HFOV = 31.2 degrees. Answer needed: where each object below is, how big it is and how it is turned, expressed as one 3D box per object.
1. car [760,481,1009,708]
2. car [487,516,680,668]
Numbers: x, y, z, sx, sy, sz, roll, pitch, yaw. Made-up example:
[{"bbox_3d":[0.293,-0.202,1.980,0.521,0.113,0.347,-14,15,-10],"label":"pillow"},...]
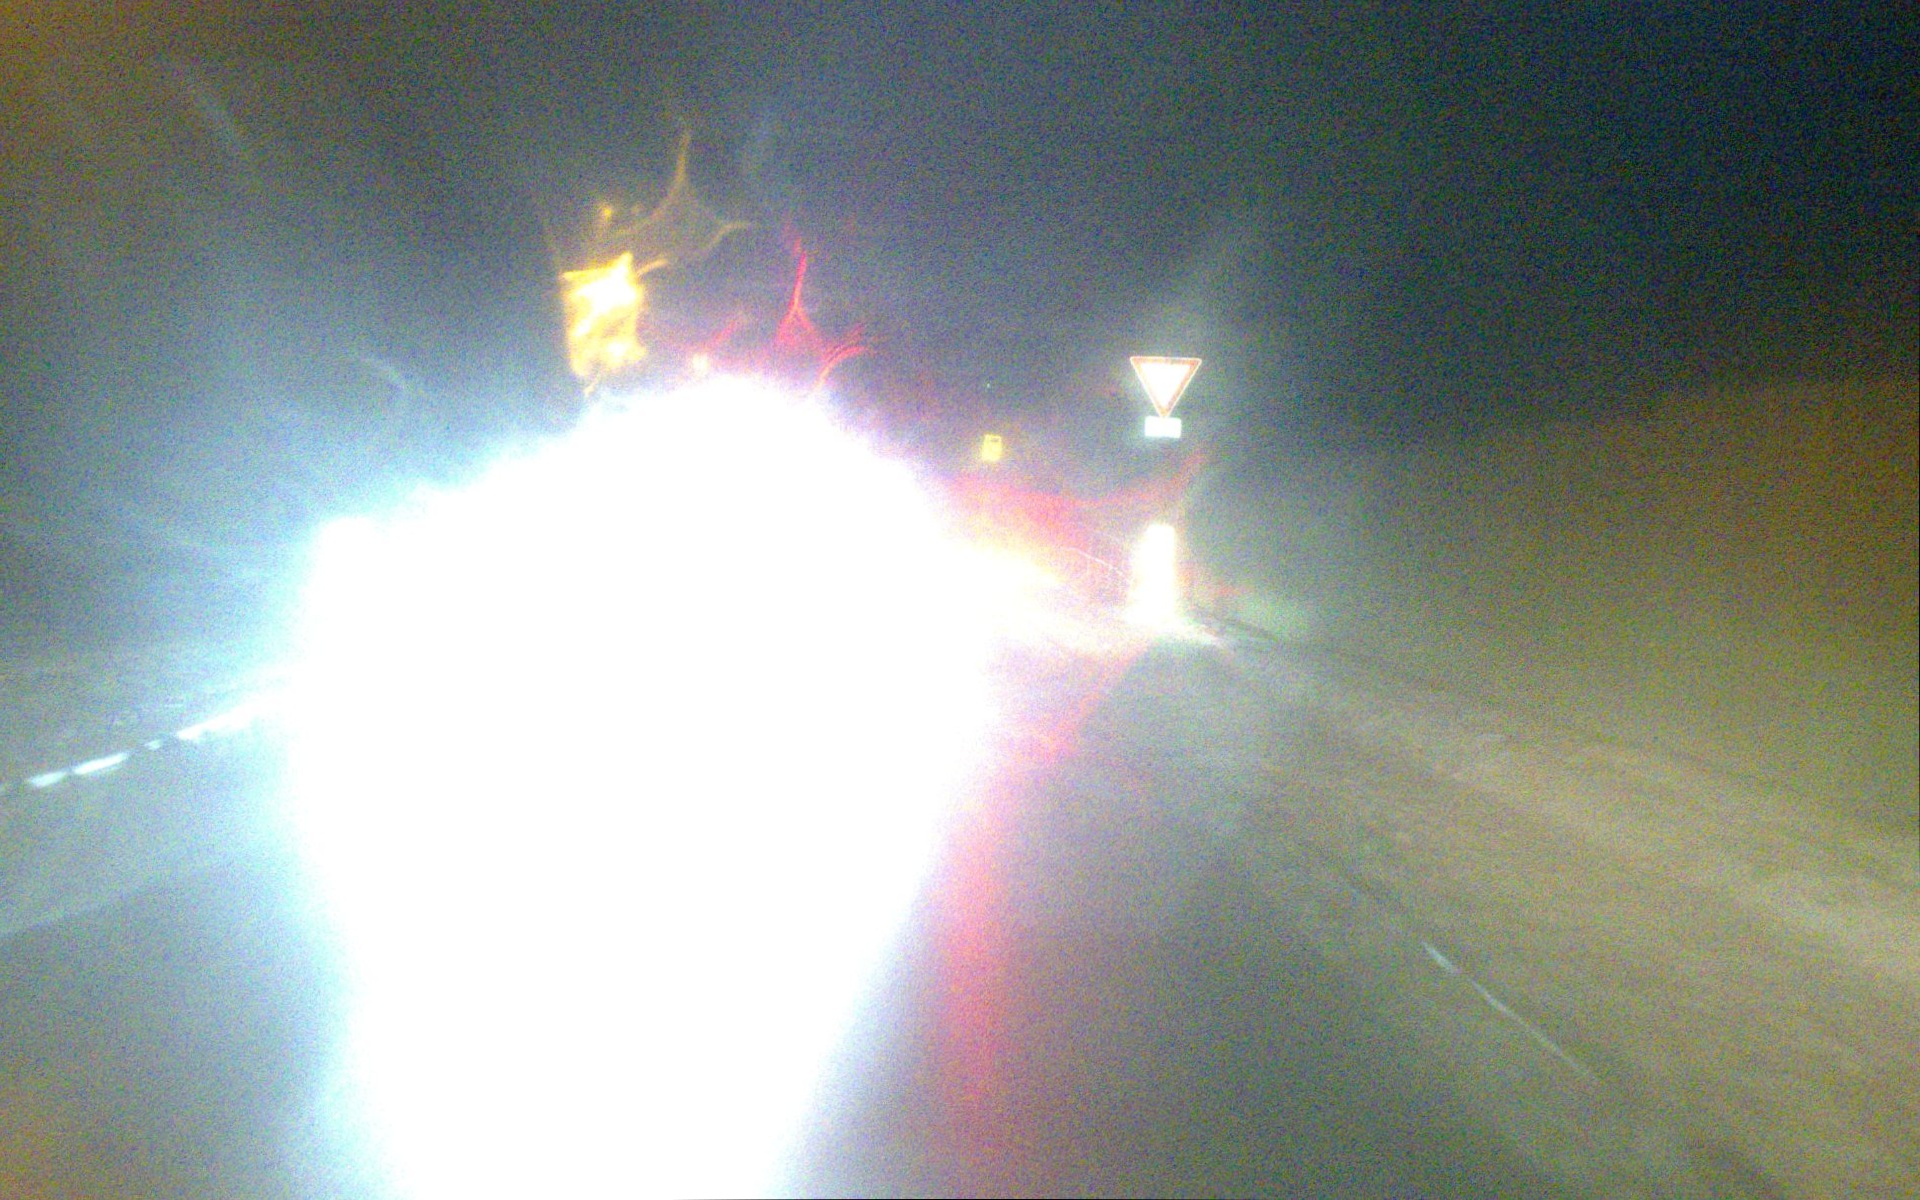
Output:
[{"bbox_3d":[-0.587,-0.051,27.512,1.801,1.623,3.615,2,0,-1],"label":"car"},{"bbox_3d":[-3.973,-0.109,36.823,1.731,1.513,4.016,1,1,-2],"label":"car"}]
